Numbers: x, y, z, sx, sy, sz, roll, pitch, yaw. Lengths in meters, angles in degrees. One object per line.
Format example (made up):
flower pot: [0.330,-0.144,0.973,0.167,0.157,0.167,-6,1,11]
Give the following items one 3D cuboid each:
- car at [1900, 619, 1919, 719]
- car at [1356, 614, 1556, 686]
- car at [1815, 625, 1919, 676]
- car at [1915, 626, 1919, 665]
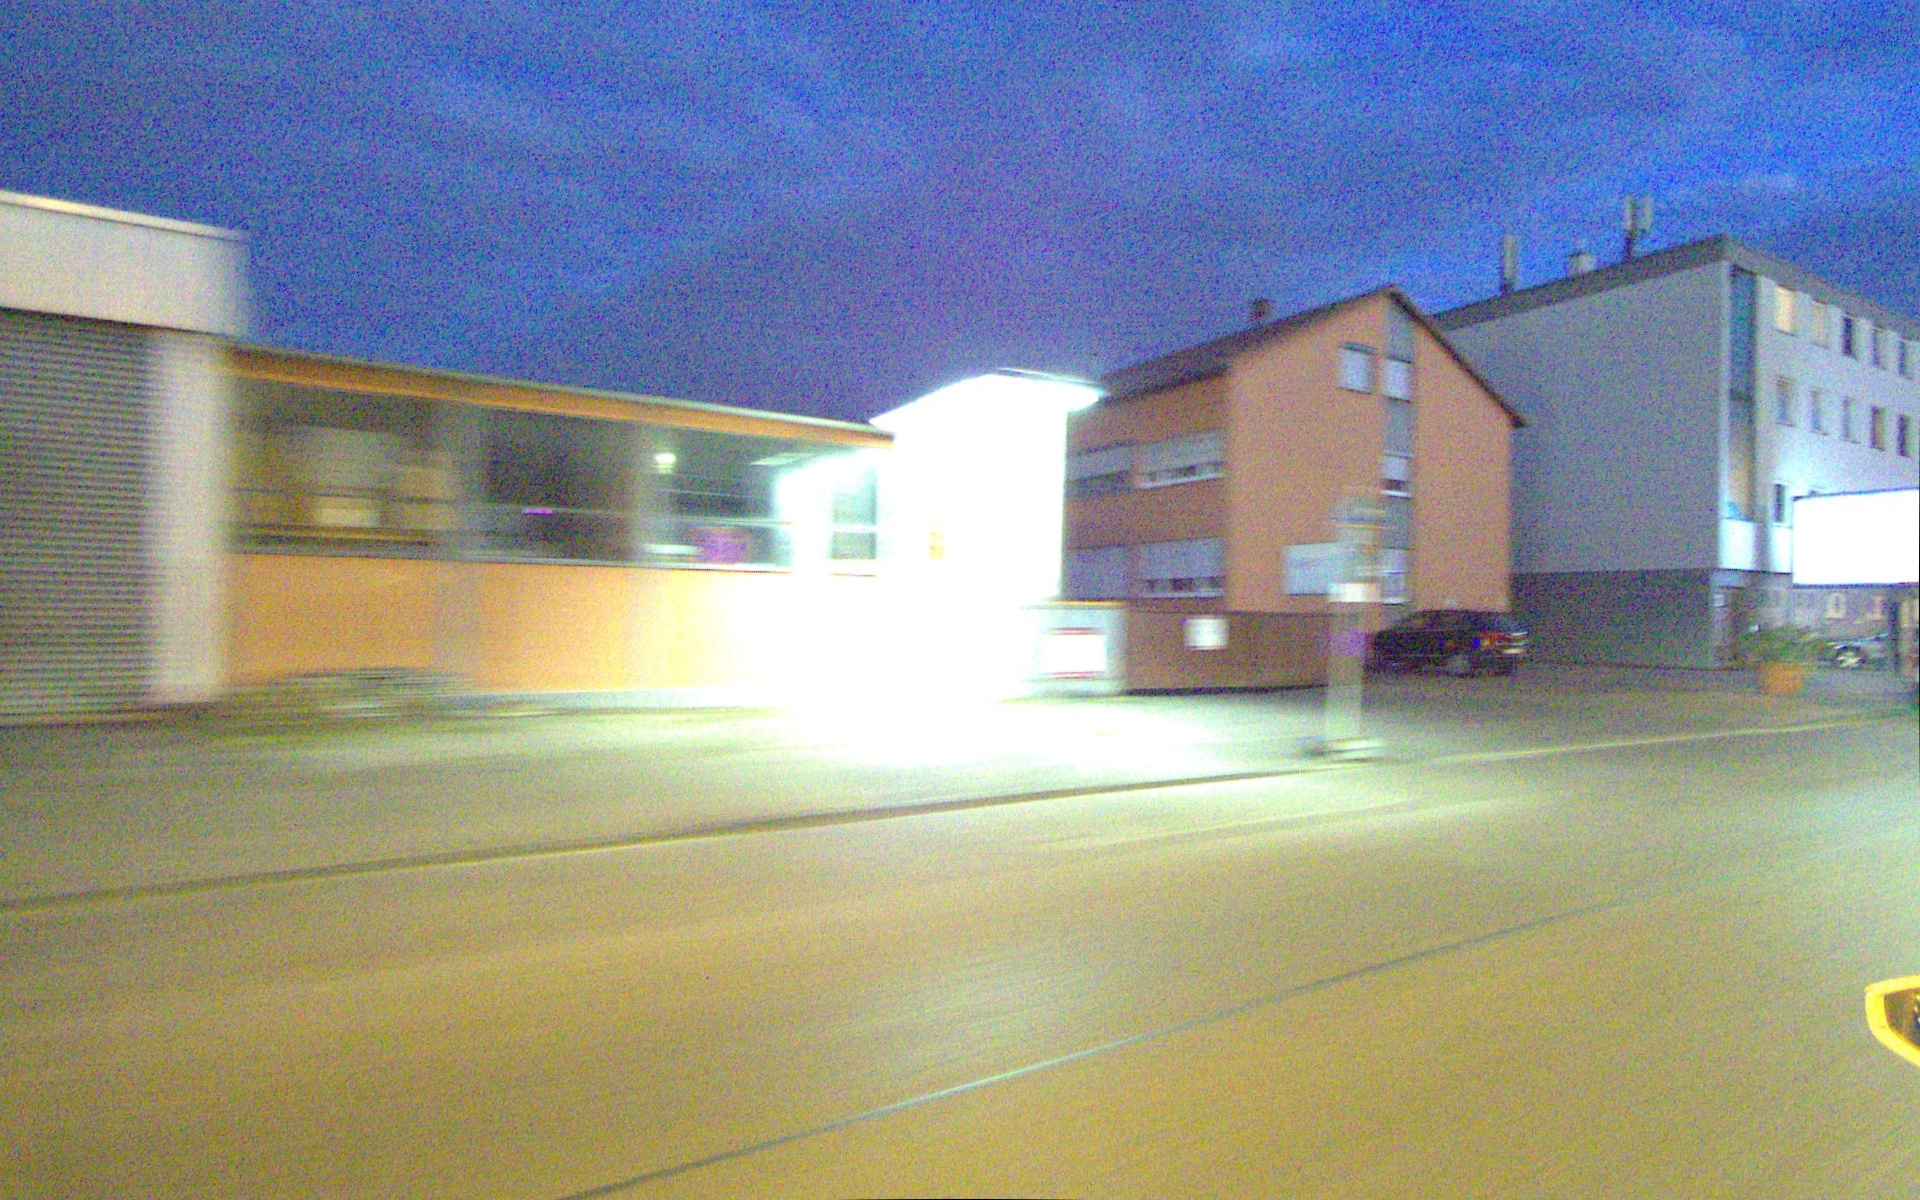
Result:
car: [20.034,1.306,19.152,4.821,1.822,1.796,1,-1,-30]
car: [12.620,1.223,25.875,1.898,1.675,4.384,1,-1,-27]
car: [30.806,1.631,32.717,4.343,1.580,1.993,0,-2,36]
car: [37.930,1.716,36.503,4.337,1.459,1.790,0,-2,31]
